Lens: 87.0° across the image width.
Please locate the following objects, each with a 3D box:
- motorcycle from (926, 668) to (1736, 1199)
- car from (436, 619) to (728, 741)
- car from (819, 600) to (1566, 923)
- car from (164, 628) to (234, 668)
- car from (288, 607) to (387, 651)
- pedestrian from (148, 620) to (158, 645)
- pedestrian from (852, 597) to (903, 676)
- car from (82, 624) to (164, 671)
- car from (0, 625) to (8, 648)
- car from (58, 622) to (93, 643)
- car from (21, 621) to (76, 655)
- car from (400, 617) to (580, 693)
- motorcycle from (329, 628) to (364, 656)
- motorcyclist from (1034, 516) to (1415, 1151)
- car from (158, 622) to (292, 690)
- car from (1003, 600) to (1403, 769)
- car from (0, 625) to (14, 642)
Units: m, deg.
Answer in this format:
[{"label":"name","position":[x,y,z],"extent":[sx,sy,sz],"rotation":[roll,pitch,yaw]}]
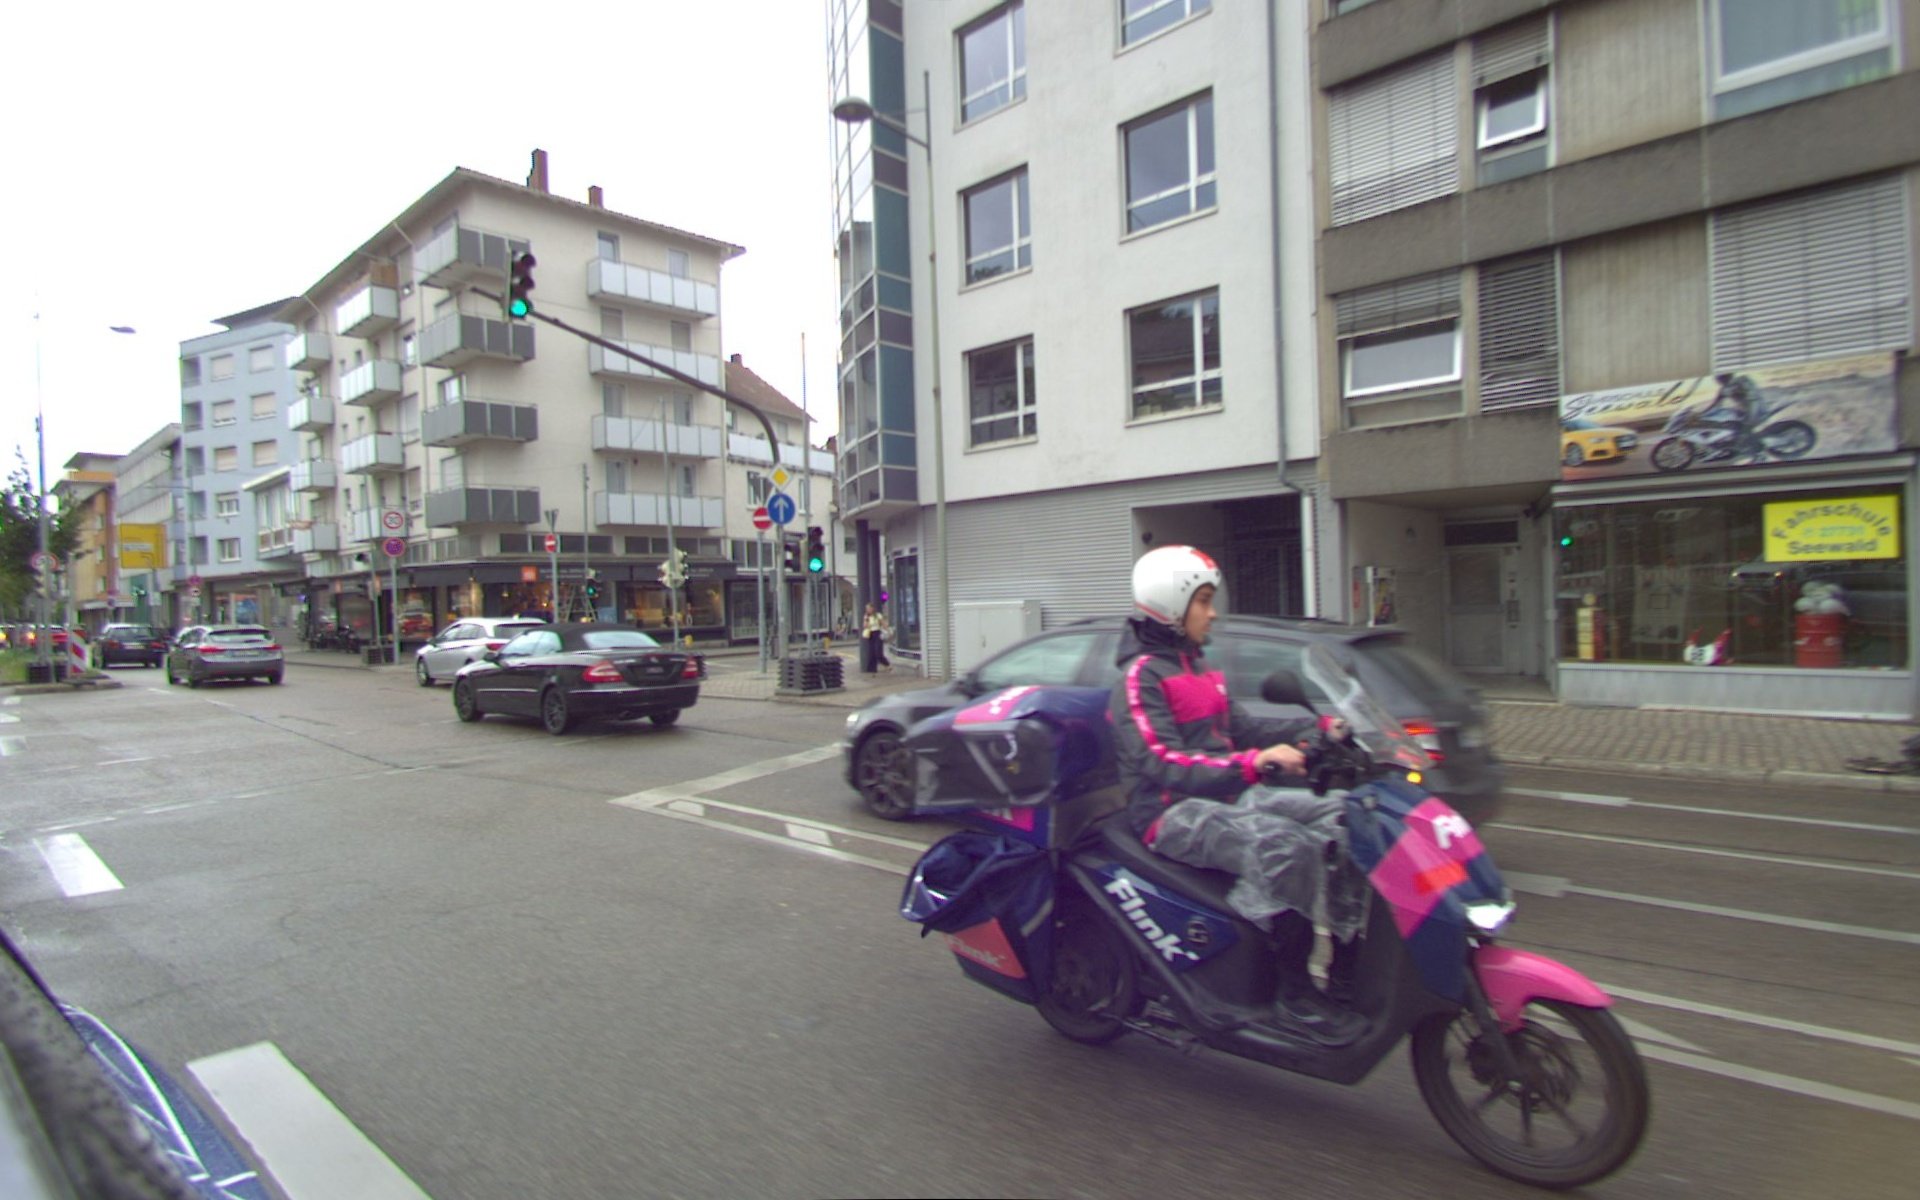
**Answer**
[{"label":"motorcycle","position":[0.917,0.851,2.958],"extent":[2.096,1.200,0.582],"rotation":[0,0,34]},{"label":"car","position":[-5.306,0.966,13.895],"extent":[4.601,1.376,1.805],"rotation":[-1,-1,41]},{"label":"car","position":[1.342,0.787,6.775],"extent":[4.478,1.470,1.965],"rotation":[-1,-2,37]},{"label":"car","position":[-31.310,1.936,41.598],"extent":[1.752,1.535,4.287],"rotation":[-1,-1,-44]},{"label":"car","position":[-31.456,1.441,51.192],"extent":[1.896,2.070,3.942],"rotation":[-1,0,44]},{"label":"pedestrian","position":[-56.409,2.247,70.738],"extent":[0.531,1.701,0.506],"rotation":[1,0,44]},{"label":"pedestrian","position":[-1.733,0.756,21.273],"extent":[0.829,1.620,0.620],"rotation":[-2,-1,30]},{"label":"car","position":[-30.338,1.687,36.641],"extent":[4.285,1.555,1.809],"rotation":[-2,-1,44]},{"label":"car","position":[-62.012,2.337,64.251],"extent":[4.612,1.428,1.826],"rotation":[-2,-3,41]},{"label":"car","position":[-69.004,2.555,78.916],"extent":[4.028,1.601,1.752],"rotation":[-2,-2,45]},{"label":"car","position":[-45.882,1.889,50.923],"extent":[4.092,1.606,1.826],"rotation":[-2,-1,44]},{"label":"car","position":[-10.279,1.134,21.974],"extent":[4.602,1.485,1.908],"rotation":[-1,-2,42]},{"label":"motorcycle","position":[-25.857,1.754,42.633],"extent":[2.196,1.095,0.661],"rotation":[-1,3,43]},{"label":"motorcyclist","position":[0.815,0.555,3.024],"extent":[0.862,1.504,0.907],"rotation":[0,0,33]},{"label":"car","position":[-18.184,1.310,24.961],"extent":[4.648,1.485,1.832],"rotation":[-1,-1,43]},{"label":"car","position":[2.370,0.751,10.314],"extent":[3.592,1.410,1.704],"rotation":[-1,-2,40]},{"label":"car","position":[-83.340,2.899,87.752],"extent":[3.840,1.452,1.679],"rotation":[-2,-2,43]}]
